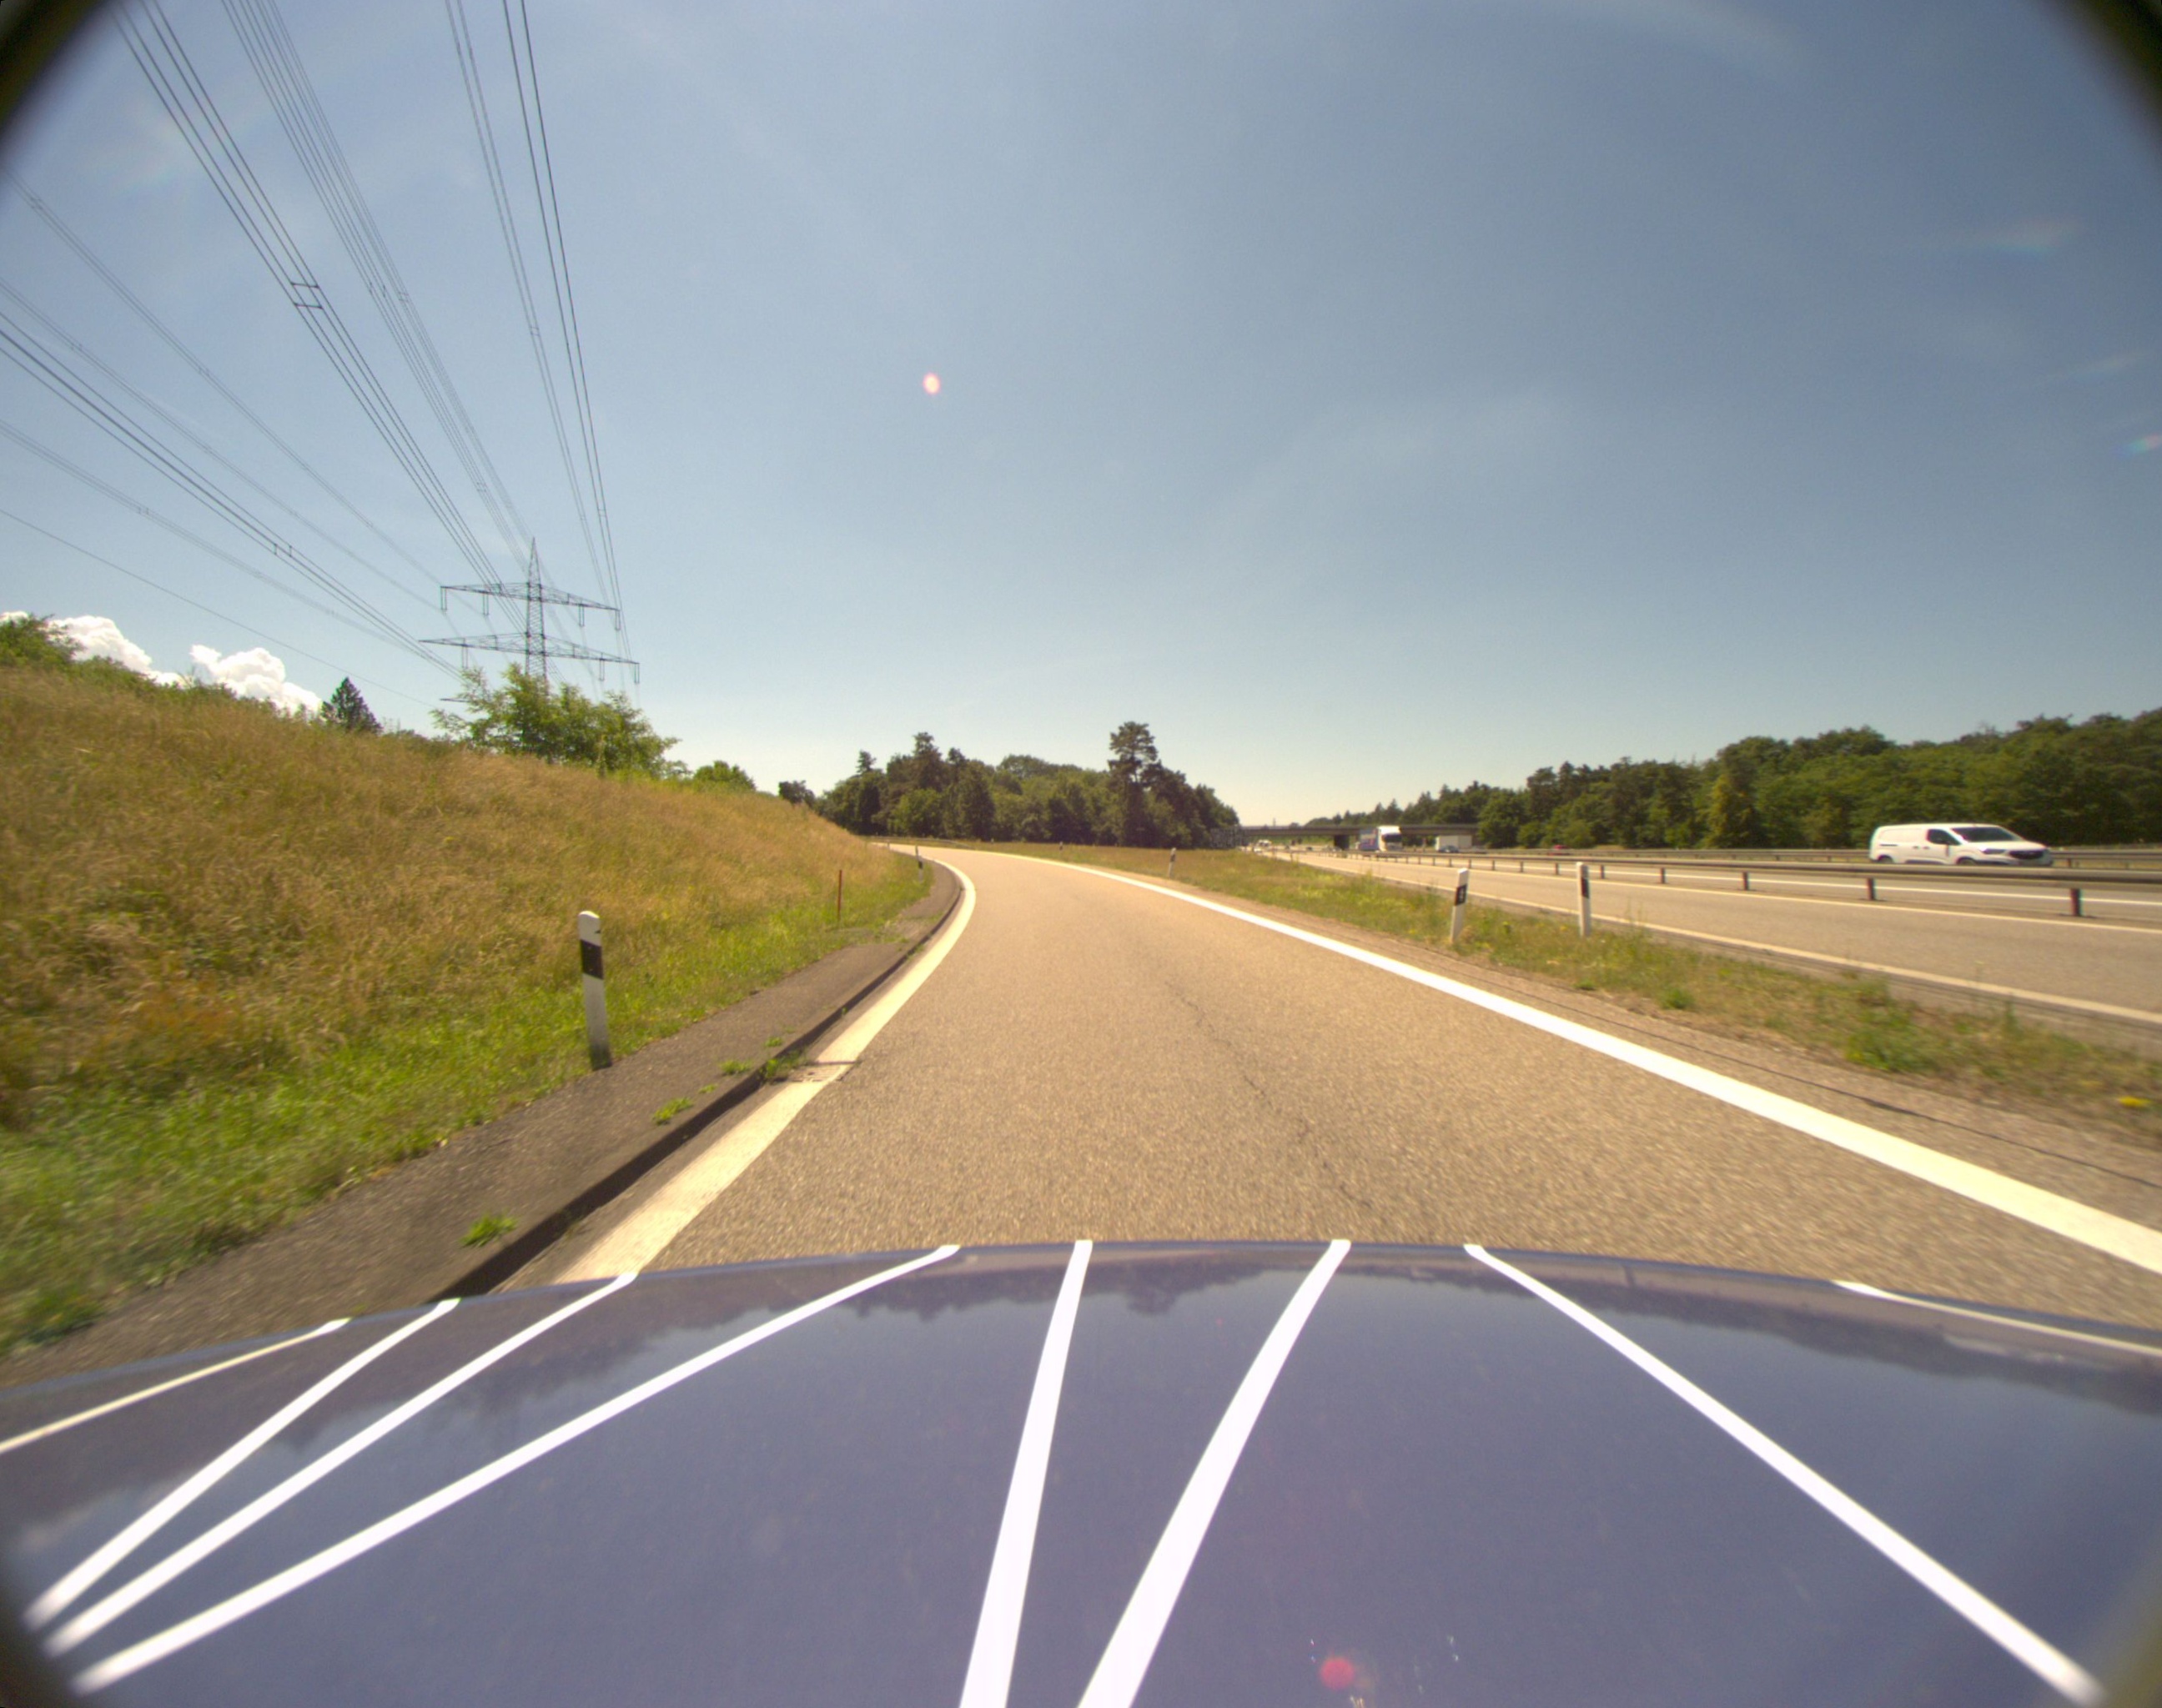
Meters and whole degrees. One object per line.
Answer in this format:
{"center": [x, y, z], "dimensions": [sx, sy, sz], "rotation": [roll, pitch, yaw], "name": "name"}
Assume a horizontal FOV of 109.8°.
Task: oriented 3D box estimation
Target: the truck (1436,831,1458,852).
{"center": [78.795, -2.689, 163.666], "dimensions": [2.943, 4.368, 6.276], "rotation": [1, 1, 13], "name": "truck"}

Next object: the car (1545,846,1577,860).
{"center": [60.695, -0.159, 96.092], "dimensions": [1.964, 1.718, 4.002], "rotation": [1, 2, 10], "name": "car"}

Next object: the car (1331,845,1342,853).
{"center": [58.311, -1.164, 173.280], "dimensions": [1.997, 1.707, 4.003], "rotation": [-1, 1, 12], "name": "car"}

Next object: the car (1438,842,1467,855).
{"center": [45.920, -0.713, 94.027], "dimensions": [1.997, 1.467, 4.245], "rotation": [-1, 1, 9], "name": "car"}

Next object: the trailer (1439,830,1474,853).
{"center": [77.279, -2.592, 156.679], "dimensions": [2.929, 4.362, 14.309], "rotation": [1, 1, 12], "name": "trailer"}

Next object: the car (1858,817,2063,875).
{"center": [29.296, -0.262, 25.611], "dimensions": [1.774, 1.743, 5.023], "rotation": [-1, 1, 11], "name": "car"}

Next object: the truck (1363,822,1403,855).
{"center": [39.318, -1.976, 99.447], "dimensions": [2.707, 4.035, 11.056], "rotation": [-1, 0, 10], "name": "truck"}

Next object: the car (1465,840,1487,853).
{"center": [60.792, -1.095, 117.019], "dimensions": [1.997, 1.838, 4.362], "rotation": [0, -1, 12], "name": "car"}

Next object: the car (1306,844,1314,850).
{"center": [70.572, -2.122, 234.213], "dimensions": [1.997, 1.559, 4.002], "rotation": [-1, 0, 8], "name": "car"}

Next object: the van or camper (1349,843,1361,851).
{"center": [87.421, -2.173, 242.685], "dimensions": [2.246, 2.363, 5.830], "rotation": [1, 1, 8], "name": "van or camper"}
